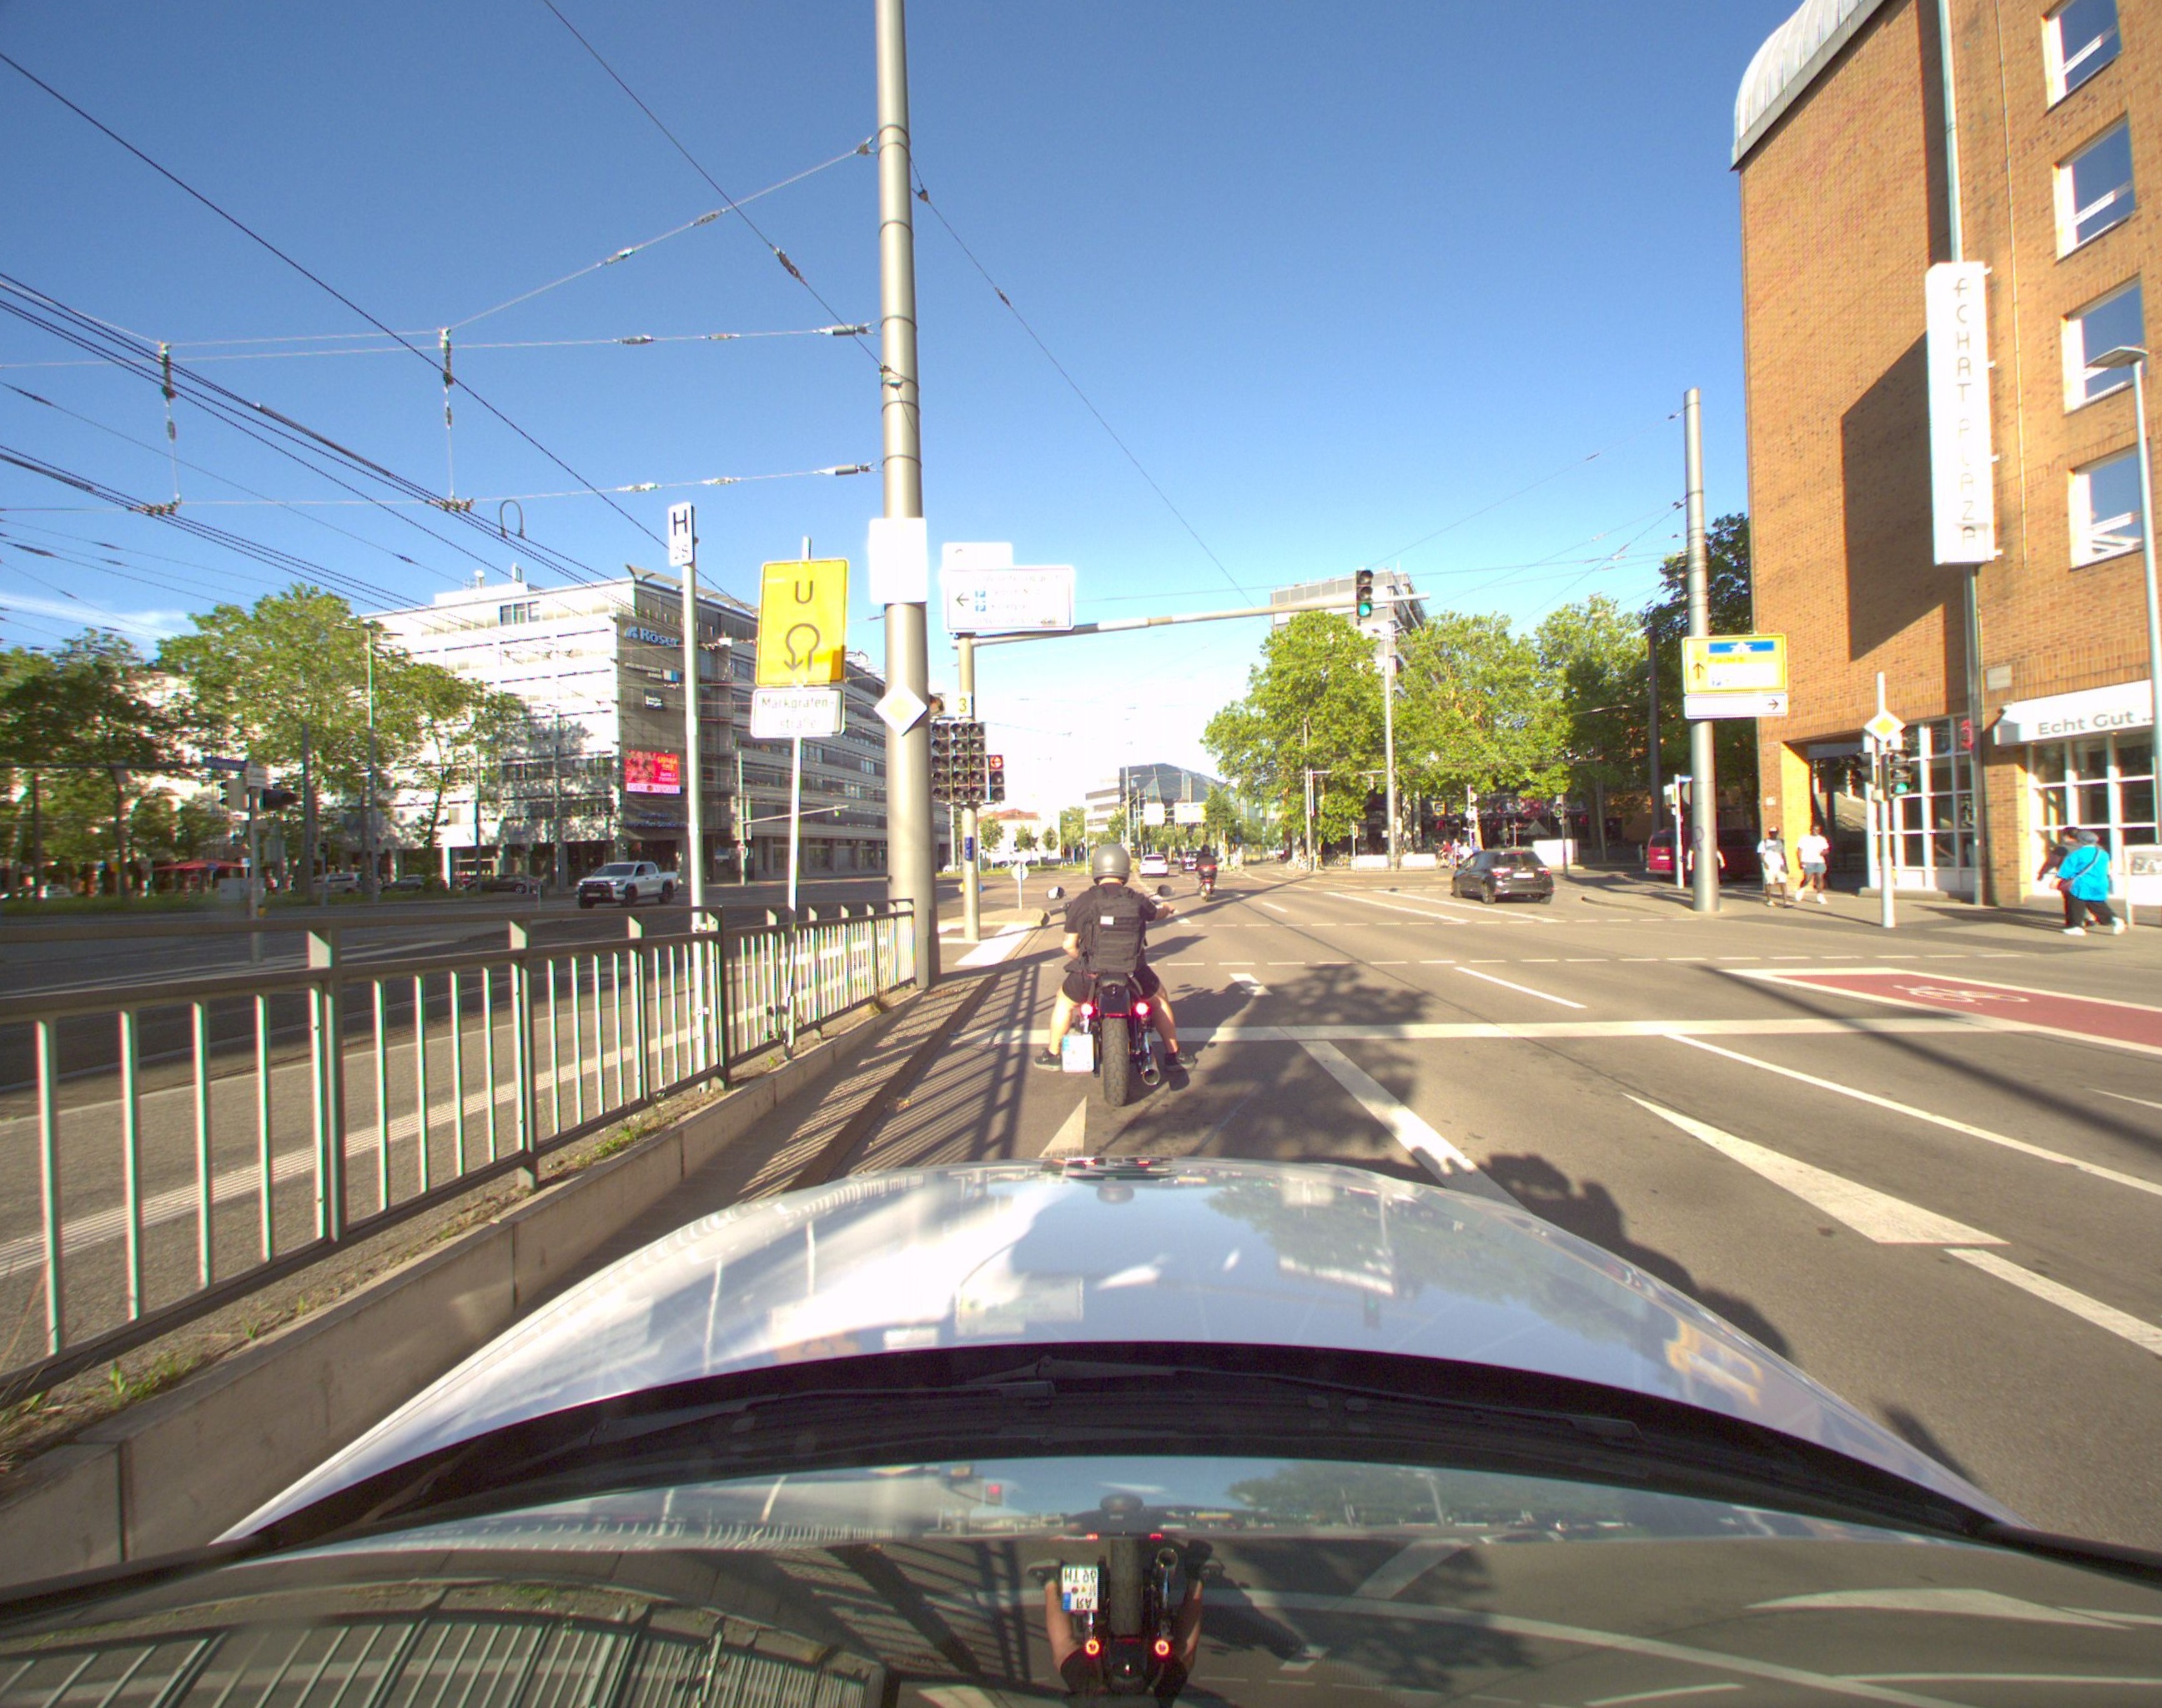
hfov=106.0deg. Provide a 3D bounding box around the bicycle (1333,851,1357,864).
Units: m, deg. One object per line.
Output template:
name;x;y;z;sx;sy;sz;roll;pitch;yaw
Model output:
bicycle;21.431;0.307;66.160;1.874;1.046;0.360;0;-1;1

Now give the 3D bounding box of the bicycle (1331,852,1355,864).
bicycle;21.524;0.330;66.973;1.874;1.046;0.360;0;-1;1

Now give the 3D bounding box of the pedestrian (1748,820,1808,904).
pedestrian;15.363;0.177;17.956;0.592;1.780;0.680;-5;0;-9

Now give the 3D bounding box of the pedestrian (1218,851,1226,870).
pedestrian;11.825;0.536;68.378;0.587;1.557;0.488;0;-1;-6

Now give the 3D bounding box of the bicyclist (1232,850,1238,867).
bicyclist;12.643;0.392;67.021;0.380;1.373;0.344;0;-1;-7

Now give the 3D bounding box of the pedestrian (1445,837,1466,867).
pedestrian;21.441;-0.086;46.663;0.829;1.704;0.760;0;-1;2

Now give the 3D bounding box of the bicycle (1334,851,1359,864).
bicycle;21.329;0.285;65.378;1.874;1.046;0.360;0;-1;1

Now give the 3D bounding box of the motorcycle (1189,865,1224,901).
motorcycle;3.829;0.856;25.032;0.801;1.050;2.376;0;-1;2

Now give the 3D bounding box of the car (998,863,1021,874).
car;-9.762;2.012;111.198;1.812;1.430;4.256;-1;-1;13

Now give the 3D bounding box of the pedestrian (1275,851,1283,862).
pedestrian;21.979;0.281;90.394;0.814;1.314;0.640;-1;-1;11

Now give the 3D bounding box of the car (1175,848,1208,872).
car;8.233;0.397;60.944;1.727;1.732;4.608;0;0;-2

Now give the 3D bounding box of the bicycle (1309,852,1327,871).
bicycle;17.237;0.542;59.350;0.722;1.367;2.922;0;-1;6

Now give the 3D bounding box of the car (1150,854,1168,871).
car;7.875;0.895;82.587;1.795;1.678;4.046;0;-1;5

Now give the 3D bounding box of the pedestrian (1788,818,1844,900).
pedestrian;16.299;0.114;18.068;0.588;1.780;0.684;-3;-1;13

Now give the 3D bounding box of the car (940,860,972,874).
car;-13.866;1.407;90.862;1.811;1.430;4.548;-2;0;15

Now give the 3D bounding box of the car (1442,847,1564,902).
car;12.015;0.535;23.500;1.723;1.450;4.047;-1;0;5

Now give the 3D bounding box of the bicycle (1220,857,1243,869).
bicycle;12.365;0.753;66.978;1.823;0.925;0.357;0;-1;-7

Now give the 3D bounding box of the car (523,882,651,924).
car;-13.920;1.359;23.096;2.884;1.063;1.235;0;-1;-19

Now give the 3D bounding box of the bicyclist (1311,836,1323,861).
bicyclist;17.228;-0.425;59.392;0.693;1.808;0.730;0;-1;6

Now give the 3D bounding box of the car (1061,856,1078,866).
car;-1.849;1.166;132.029;1.736;1.524;4.016;-1;-1;16

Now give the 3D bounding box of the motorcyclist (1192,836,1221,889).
motorcyclist;3.819;0.257;24.807;0.793;1.580;0.529;0;-1;1

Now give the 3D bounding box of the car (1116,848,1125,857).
car;9.951;-0.331;205.119;1.982;2.014;4.309;0;-1;8

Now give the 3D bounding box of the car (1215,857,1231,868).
car;21.683;1.298;124.365;1.789;1.678;4.059;0;-1;18

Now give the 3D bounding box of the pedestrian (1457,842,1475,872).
pedestrian;19.653;0.171;41.588;0.564;1.533;0.702;0;-1;-1

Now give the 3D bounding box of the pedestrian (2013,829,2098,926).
pedestrian;15.315;0.361;12.807;0.590;1.476;0.552;-2;-1;2

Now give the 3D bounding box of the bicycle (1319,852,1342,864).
bicycle;21.520;0.356;70.300;1.874;1.046;0.360;0;0;1

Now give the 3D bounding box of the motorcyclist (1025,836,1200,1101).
motorcyclist;0.205;0.702;5.410;1.027;1.593;0.874;-2;0;1

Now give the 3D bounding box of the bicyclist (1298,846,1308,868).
bicyclist;17.732;0.243;64.922;0.682;1.673;0.544;-2;-2;21

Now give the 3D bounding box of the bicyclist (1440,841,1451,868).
bicyclist;25.112;0.042;56.151;0.582;1.837;0.403;0;-1;1

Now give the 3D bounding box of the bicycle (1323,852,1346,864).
bicycle;21.498;0.351;69.148;1.874;1.046;0.360;0;0;1

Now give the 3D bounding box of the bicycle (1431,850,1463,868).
bicycle;25.211;0.350;56.138;2.034;1.214;0.421;0;-1;2

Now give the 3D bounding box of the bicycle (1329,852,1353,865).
bicycle;21.542;0.348;67.530;1.874;1.046;0.360;0;0;1

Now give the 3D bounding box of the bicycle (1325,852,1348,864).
bicycle;21.530;0.350;68.648;1.874;1.046;0.360;0;0;1

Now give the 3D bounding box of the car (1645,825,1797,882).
car;23.186;-0.020;29.555;4.456;2.009;1.804;0;0;-9

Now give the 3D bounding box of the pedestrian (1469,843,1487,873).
pedestrian;20.304;0.207;41.638;0.564;1.479;0.702;0;-1;1

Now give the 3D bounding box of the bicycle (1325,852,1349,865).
bicycle;21.450;0.357;68.163;1.874;1.046;0.360;0;-1;1

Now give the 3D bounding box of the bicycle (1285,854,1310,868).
bicycle;17.299;0.571;65.070;1.854;1.044;0.540;-1;-1;20

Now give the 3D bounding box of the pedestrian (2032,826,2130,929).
pedestrian;14.919;0.346;12.168;0.590;1.452;0.601;-4;-1;2

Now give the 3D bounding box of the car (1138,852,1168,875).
car;4.612;0.626;52.568;1.725;1.457;4.419;0;-1;2

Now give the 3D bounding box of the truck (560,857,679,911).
truck;-18.375;1.165;32.746;1.990;1.880;5.148;-4;-1;-4

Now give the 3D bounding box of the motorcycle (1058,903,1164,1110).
motorcycle;0.206;0.941;5.779;0.598;1.036;2.235;0;0;2

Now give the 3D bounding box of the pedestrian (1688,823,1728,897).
pedestrian;15.365;0.148;19.957;0.727;1.792;0.515;-1;-1;42
